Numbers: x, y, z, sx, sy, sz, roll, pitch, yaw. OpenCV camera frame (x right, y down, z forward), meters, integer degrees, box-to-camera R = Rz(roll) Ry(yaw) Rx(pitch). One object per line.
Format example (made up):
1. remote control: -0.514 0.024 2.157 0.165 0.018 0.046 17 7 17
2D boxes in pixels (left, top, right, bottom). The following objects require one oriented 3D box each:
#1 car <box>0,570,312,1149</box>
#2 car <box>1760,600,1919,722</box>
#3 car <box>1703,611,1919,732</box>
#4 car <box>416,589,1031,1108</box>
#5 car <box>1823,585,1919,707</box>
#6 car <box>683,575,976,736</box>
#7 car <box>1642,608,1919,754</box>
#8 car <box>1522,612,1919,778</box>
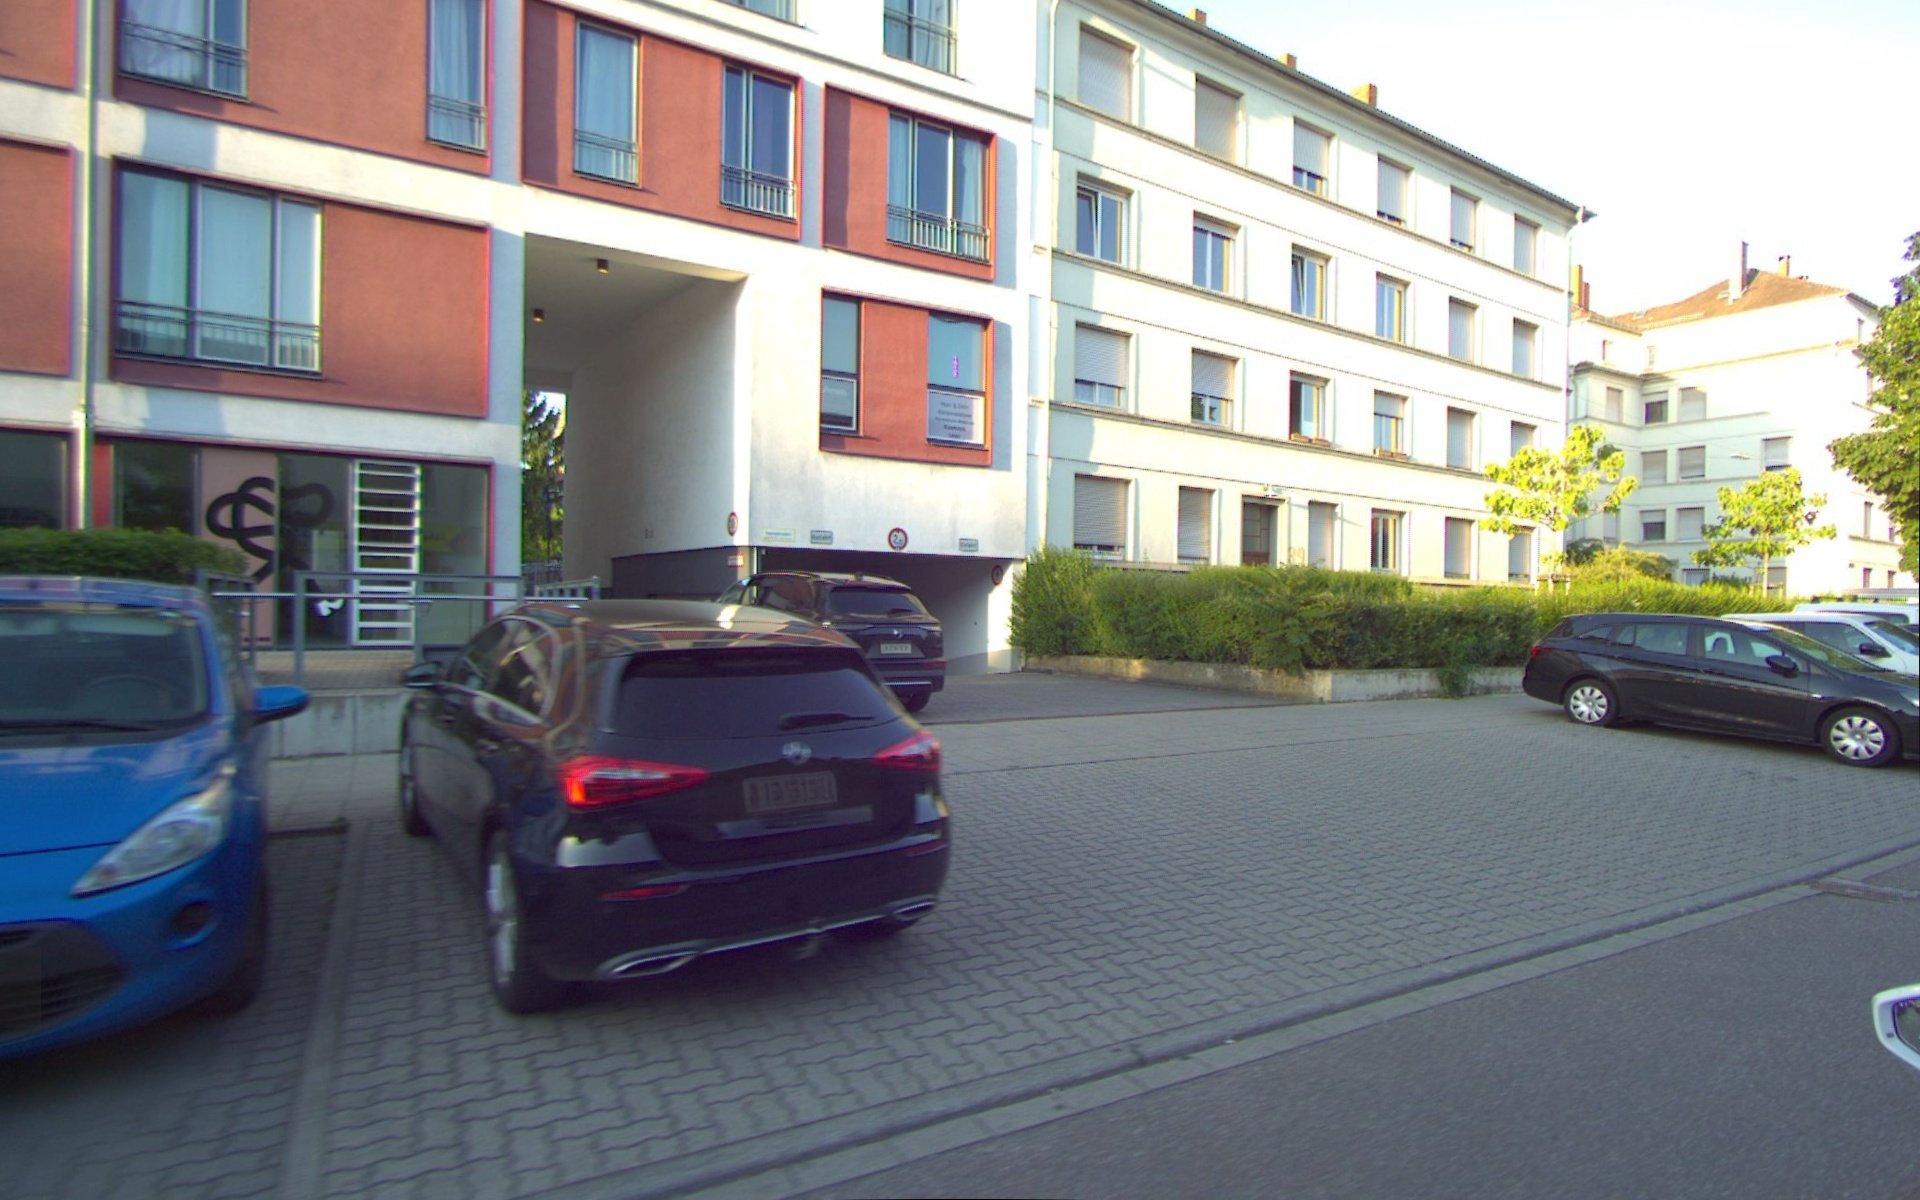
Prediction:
1. car: -3.733 0.663 4.226 1.636 1.513 3.861 2 1 -33
2. car: 15.823 0.994 15.993 1.920 1.826 4.401 1 1 -29
3. car: 13.793 1.058 14.968 1.736 1.504 3.964 1 3 -32
4. car: -1.597 0.747 5.192 1.721 1.435 4.111 2 1 -34
5. car: 18.186 0.876 17.363 1.975 2.098 4.493 0 3 -28
6. car: -1.776 0.580 12.528 1.981 1.656 3.959 1 0 -36
7. car: 11.814 1.010 13.313 1.792 1.642 4.222 1 1 -31
8. car: 9.481 1.006 12.090 1.808 1.471 4.382 2 2 -33
